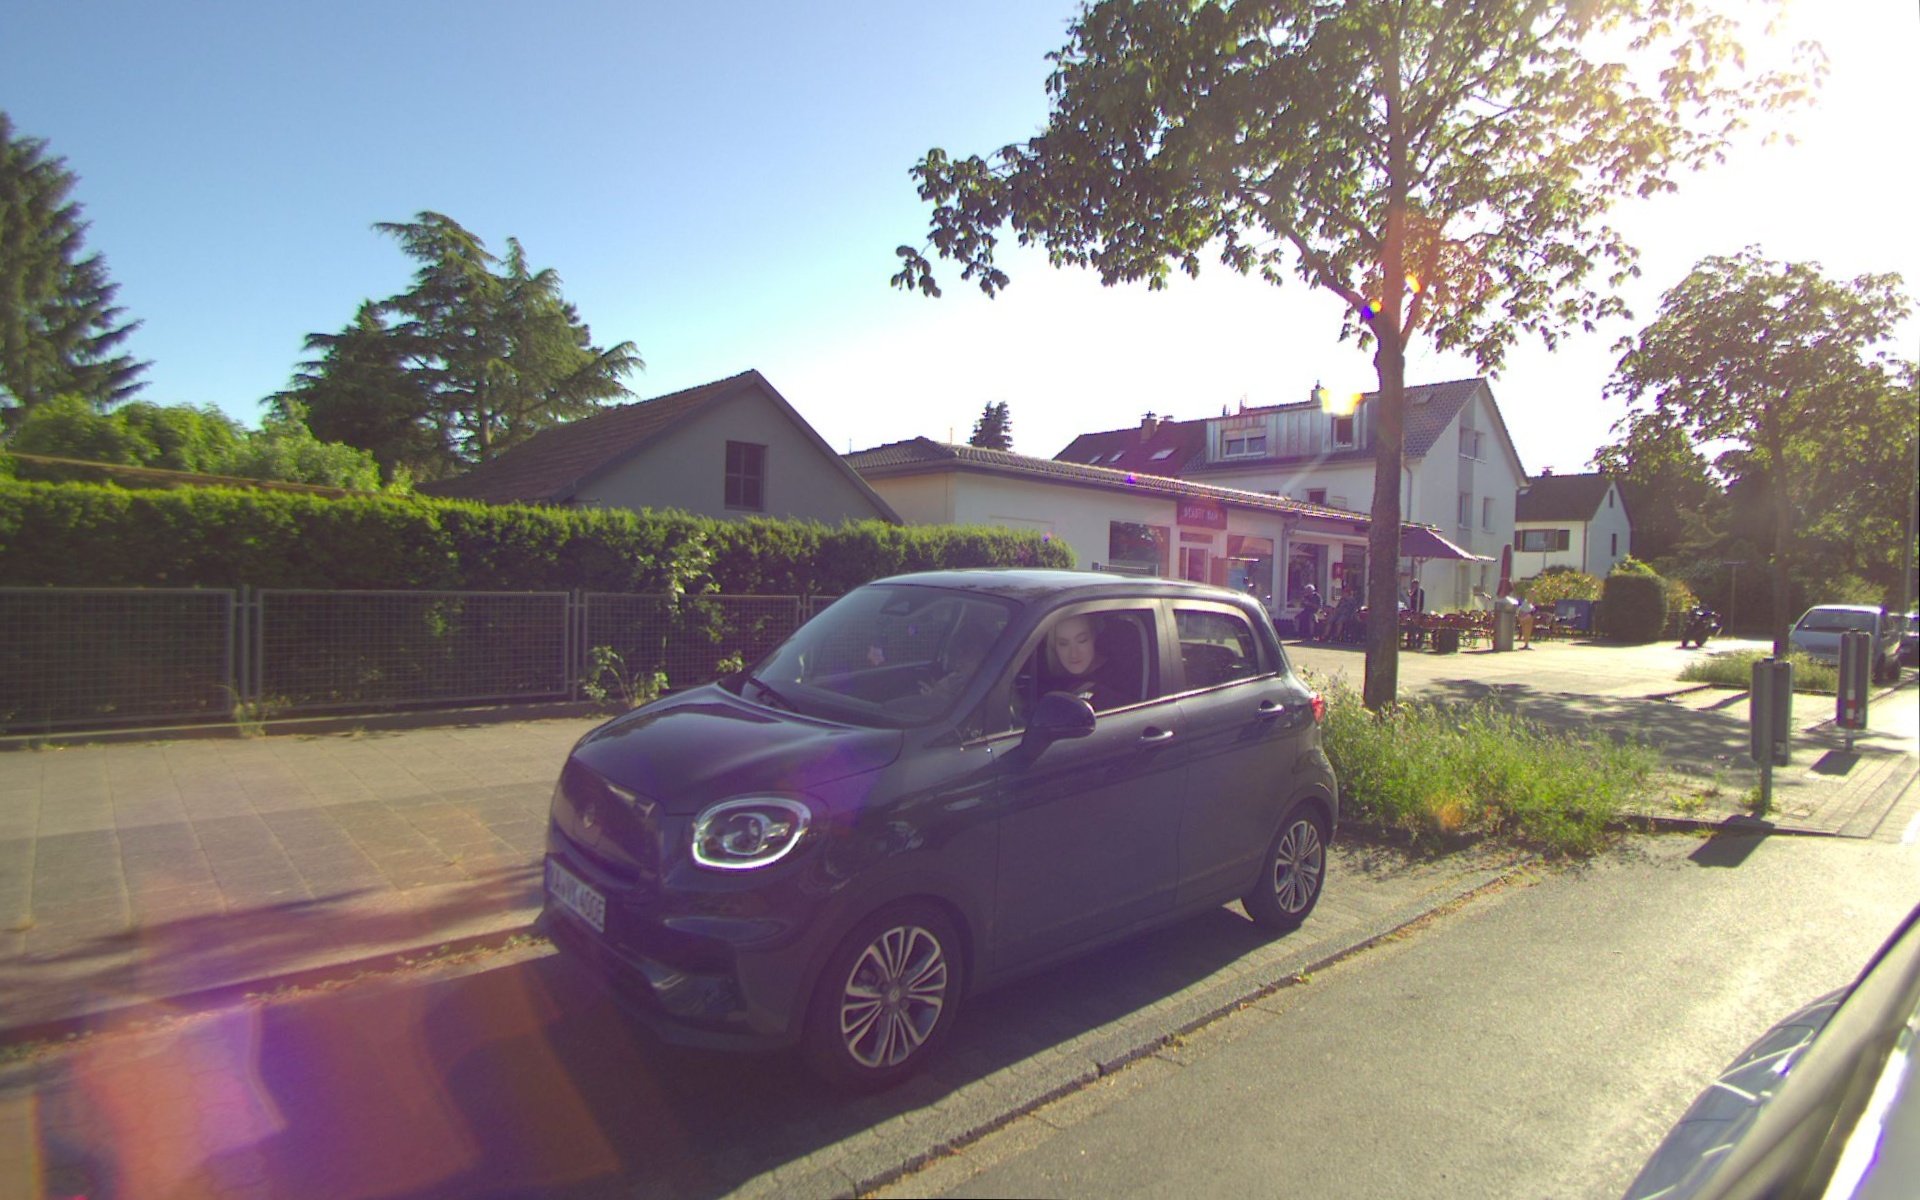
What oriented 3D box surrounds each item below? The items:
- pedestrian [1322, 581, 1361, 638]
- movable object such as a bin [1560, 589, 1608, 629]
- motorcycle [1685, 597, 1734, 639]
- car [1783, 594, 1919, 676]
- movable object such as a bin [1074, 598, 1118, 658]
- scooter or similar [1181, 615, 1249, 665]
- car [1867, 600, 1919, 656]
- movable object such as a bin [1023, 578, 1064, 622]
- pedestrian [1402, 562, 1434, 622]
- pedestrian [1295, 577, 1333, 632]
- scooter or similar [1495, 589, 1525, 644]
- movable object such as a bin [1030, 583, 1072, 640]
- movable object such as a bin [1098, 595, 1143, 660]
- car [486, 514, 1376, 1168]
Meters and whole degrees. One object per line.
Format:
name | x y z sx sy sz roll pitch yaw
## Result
pedestrian | 9.513 0.228 25.227 0.564 1.338 0.641 0 5 -41
movable object such as a bin | 21.746 0.312 35.281 0.913 1.310 1.170 0 3 -43
motorcycle | 23.480 0.540 31.700 2.306 1.270 0.837 0 0 -43
car | 19.850 0.706 22.439 3.788 1.596 1.733 0 2 -39
movable object such as a bin | 2.224 0.447 16.545 0.518 0.941 0.459 0 3 -43
scooter or similar | 4.193 0.641 16.593 1.208 0.725 0.450 0 5 -43
car | 27.473 0.806 29.059 3.792 1.500 1.731 1 1 -43
movable object such as a bin | 1.437 -0.008 17.437 0.518 0.727 0.459 0 3 -43
pedestrian | 14.160 -0.255 31.286 0.722 1.831 0.671 0 0 -42
pedestrian | 9.043 0.106 25.836 0.564 1.338 0.641 0 5 -41
scooter or similar | 13.583 0.406 24.974 0.502 1.311 0.454 3 2 45
movable object such as a bin | 1.559 0.184 17.359 0.518 0.941 0.459 0 3 -43
movable object such as a bin | 2.565 0.432 16.168 0.518 0.988 0.459 0 3 -43
car | 0.148 0.551 4.210 3.539 1.593 1.496 0 4 -42
